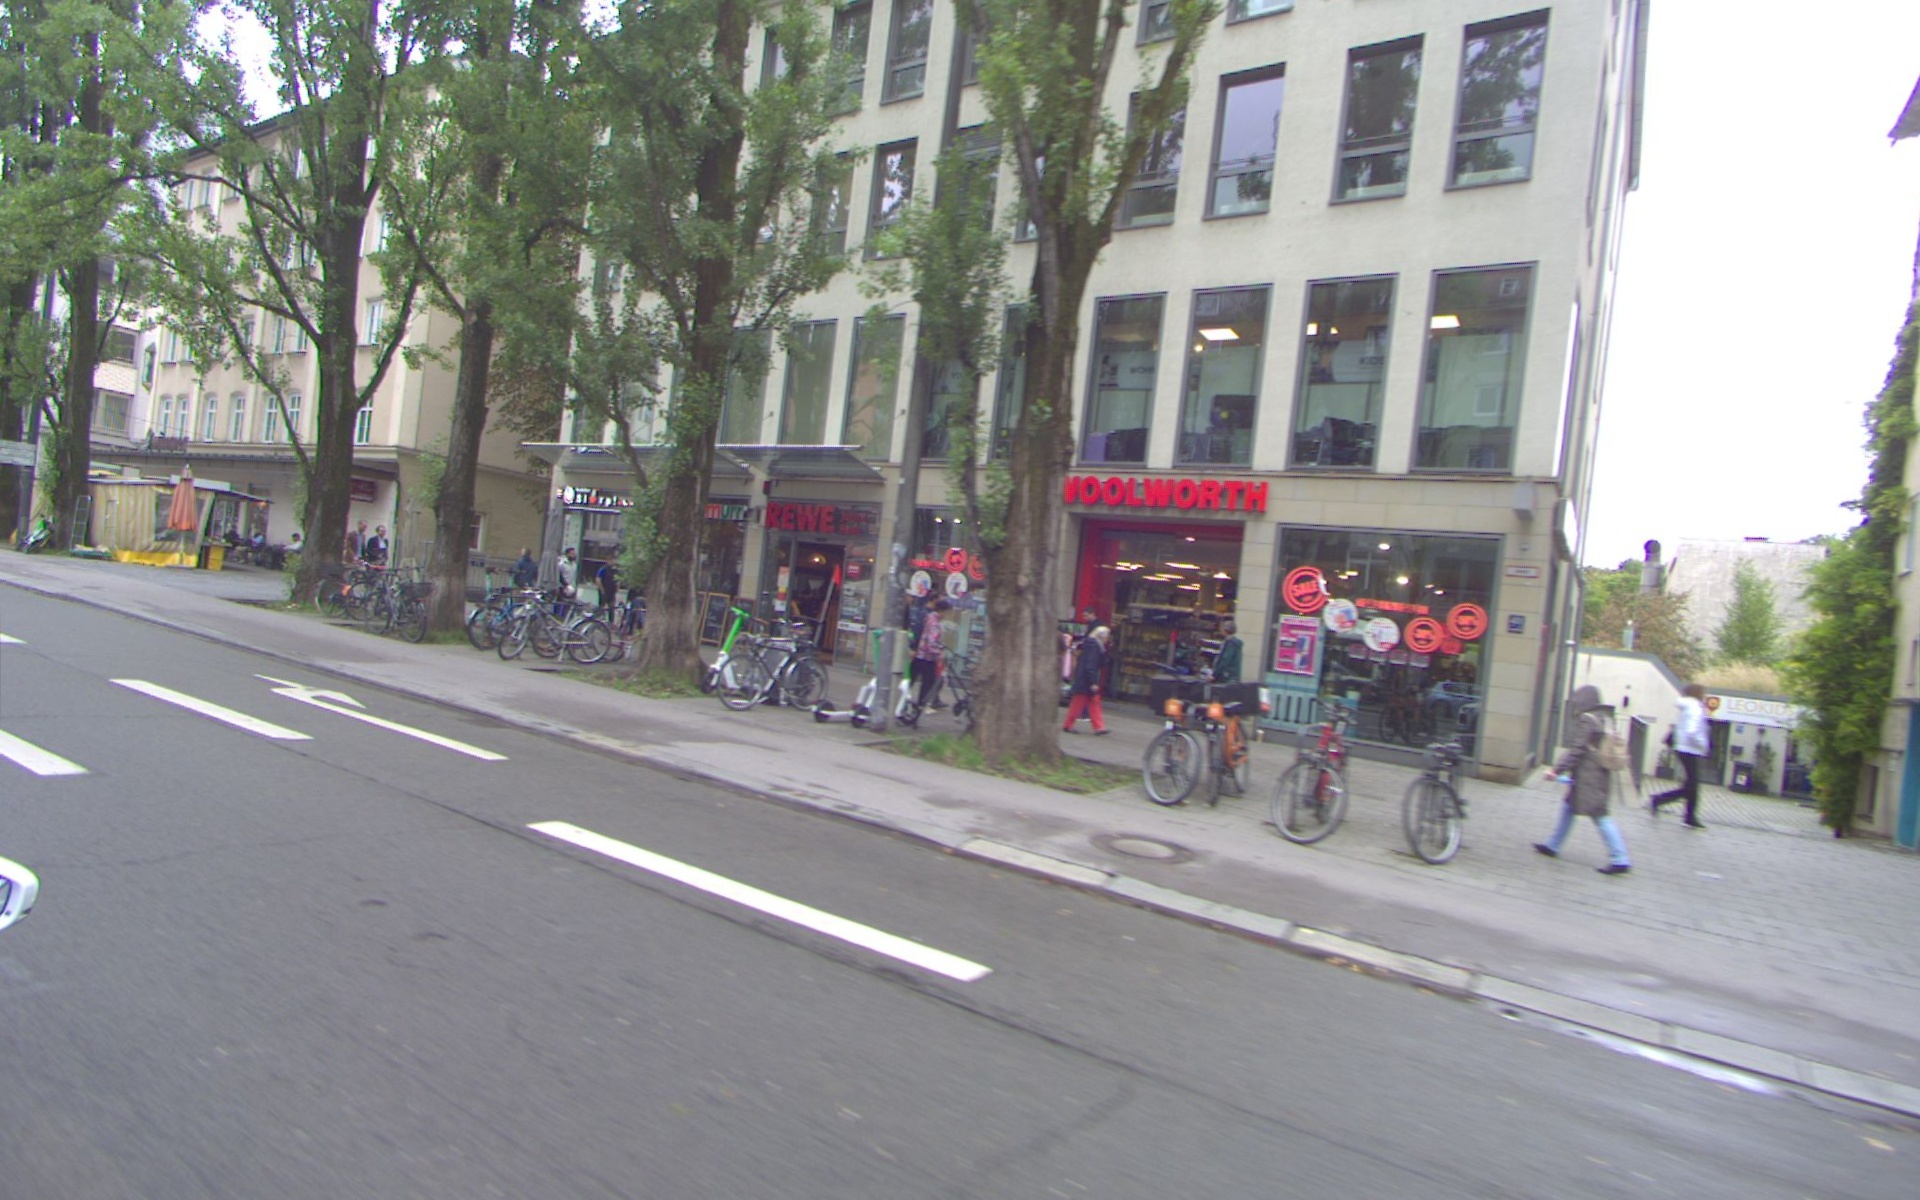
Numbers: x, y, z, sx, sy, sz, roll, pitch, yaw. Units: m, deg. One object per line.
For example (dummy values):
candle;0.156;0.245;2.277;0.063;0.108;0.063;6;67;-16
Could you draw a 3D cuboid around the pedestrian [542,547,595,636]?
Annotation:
pedestrian;-8.578;-0.180;22.034;0.680;1.842;0.622;7;1;31

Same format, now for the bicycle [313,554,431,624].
bicycle;-10.981;-0.182;18.867;0.281;1.095;2.005;7;-2;24

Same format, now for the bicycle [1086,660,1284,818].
bicycle;2.292;1.296;9.887;0.950;1.229;2.574;7;-1;33

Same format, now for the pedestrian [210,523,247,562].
pedestrian;-26.459;-2.067;36.393;0.688;1.280;0.776;7;0;33

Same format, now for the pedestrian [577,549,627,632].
pedestrian;-8.289;-0.216;23.308;0.663;1.806;0.657;7;1;34

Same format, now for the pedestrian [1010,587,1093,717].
pedestrian;1.420;0.803;15.567;0.808;1.892;0.752;7;1;36

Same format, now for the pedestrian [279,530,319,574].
pedestrian;-21.349;-1.555;32.492;0.688;1.280;0.776;7;0;33

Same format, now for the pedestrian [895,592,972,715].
pedestrian;-0.385;0.775;14.513;0.739;1.668;0.546;7;0;36

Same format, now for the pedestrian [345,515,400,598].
pedestrian;-14.041;-1.041;24.049;0.891;1.873;0.656;7;1;35

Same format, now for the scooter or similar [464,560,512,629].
scooter or similar;-9.521;-0.118;20.272;1.019;1.289;0.247;7;0;33

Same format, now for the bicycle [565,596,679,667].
bicycle;-5.398;0.536;16.210;0.386;0.999;2.005;7;-1;25

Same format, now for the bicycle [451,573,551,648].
bicycle;-7.498;0.203;16.526;0.281;1.131;1.678;7;0;21

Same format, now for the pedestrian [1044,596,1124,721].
pedestrian;1.992;0.949;16.141;0.808;1.876;0.752;7;0;34

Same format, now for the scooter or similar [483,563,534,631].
scooter or similar;-9.276;-0.069;20.647;1.019;1.289;0.330;7;0;33

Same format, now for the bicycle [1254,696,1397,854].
bicycle;3.267;1.467;8.872;0.675;1.140;1.900;7;0;33

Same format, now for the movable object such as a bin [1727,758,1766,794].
movable object such as a bin;27.078;6.058;34.655;0.891;1.055;0.887;6;-2;35

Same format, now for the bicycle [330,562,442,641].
bicycle;-9.546;0.021;16.712;1.968;1.074;0.434;7;0;23

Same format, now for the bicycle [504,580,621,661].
bicycle;-6.138;0.351;15.636;0.334;1.149;1.870;7;0;24

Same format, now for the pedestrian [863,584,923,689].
pedestrian;-1.210;0.661;18.114;0.632;1.788;0.594;7;0;36

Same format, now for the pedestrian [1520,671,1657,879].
pedestrian;5.477;1.476;8.764;0.781;1.610;0.708;7;2;39

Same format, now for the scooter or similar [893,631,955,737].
scooter or similar;-0.461;1.005;12.406;0.303;1.183;1.240;7;-2;-18

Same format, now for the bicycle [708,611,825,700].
bicycle;-2.898;0.800;14.917;1.974;1.076;0.391;7;1;37

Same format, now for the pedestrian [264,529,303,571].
pedestrian;-22.600;-1.664;33.628;0.688;1.280;0.776;7;0;33

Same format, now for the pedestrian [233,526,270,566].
pedestrian;-24.746;-1.889;35.135;0.688;1.280;0.776;7;0;33

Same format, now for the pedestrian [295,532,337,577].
pedestrian;-20.373;-1.428;31.826;0.688;1.280;0.776;7;0;33

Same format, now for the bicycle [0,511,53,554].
bicycle;-25.153;-1.829;27.102;1.741;0.987;0.509;7;-1;31

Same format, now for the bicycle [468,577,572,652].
bicycle;-7.138;0.265;16.408;0.389;1.120;1.666;7;0;21

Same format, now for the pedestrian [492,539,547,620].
pedestrian;-10.613;-0.486;24.245;0.744;1.836;0.743;7;0;36

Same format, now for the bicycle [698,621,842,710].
bicycle;-2.339;0.840;12.605;0.387;1.022;1.836;7;1;42

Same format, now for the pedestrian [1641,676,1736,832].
pedestrian;8.562;1.785;11.857;0.681;1.683;0.667;7;0;32

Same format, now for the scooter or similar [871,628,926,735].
scooter or similar;-0.757;0.957;12.208;0.281;1.183;1.241;7;-2;-15

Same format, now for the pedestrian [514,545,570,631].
pedestrian;-8.884;-0.251;21.386;0.680;1.731;0.657;7;1;31

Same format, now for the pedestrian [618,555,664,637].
pedestrian;-7.424;-0.095;23.420;0.663;1.806;0.565;7;1;34

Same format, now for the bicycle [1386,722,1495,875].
bicycle;4.020;1.576;8.347;0.495;1.021;1.841;7;0;33

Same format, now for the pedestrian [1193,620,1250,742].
pedestrian;4.073;1.248;15.668;0.629;1.788;0.548;7;0;15

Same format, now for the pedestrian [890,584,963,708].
pedestrian;-0.497;0.689;15.091;0.686;1.763;0.565;7;0;36

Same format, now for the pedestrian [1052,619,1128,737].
pedestrian;1.828;1.094;14.134;0.686;1.538;0.565;7;0;36

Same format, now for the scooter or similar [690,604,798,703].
scooter or similar;-2.875;0.716;13.429;1.230;1.183;0.400;7;-1;-28

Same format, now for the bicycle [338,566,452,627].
bicycle;-10.556;-0.045;18.884;0.281;0.956;2.005;7;-1;24

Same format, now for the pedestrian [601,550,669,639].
pedestrian;-7.199;-0.111;22.346;0.962;1.837;0.813;7;1;11

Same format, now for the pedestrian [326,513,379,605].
pedestrian;-13.988;-0.934;23.163;0.711;1.996;0.656;8;1;36
